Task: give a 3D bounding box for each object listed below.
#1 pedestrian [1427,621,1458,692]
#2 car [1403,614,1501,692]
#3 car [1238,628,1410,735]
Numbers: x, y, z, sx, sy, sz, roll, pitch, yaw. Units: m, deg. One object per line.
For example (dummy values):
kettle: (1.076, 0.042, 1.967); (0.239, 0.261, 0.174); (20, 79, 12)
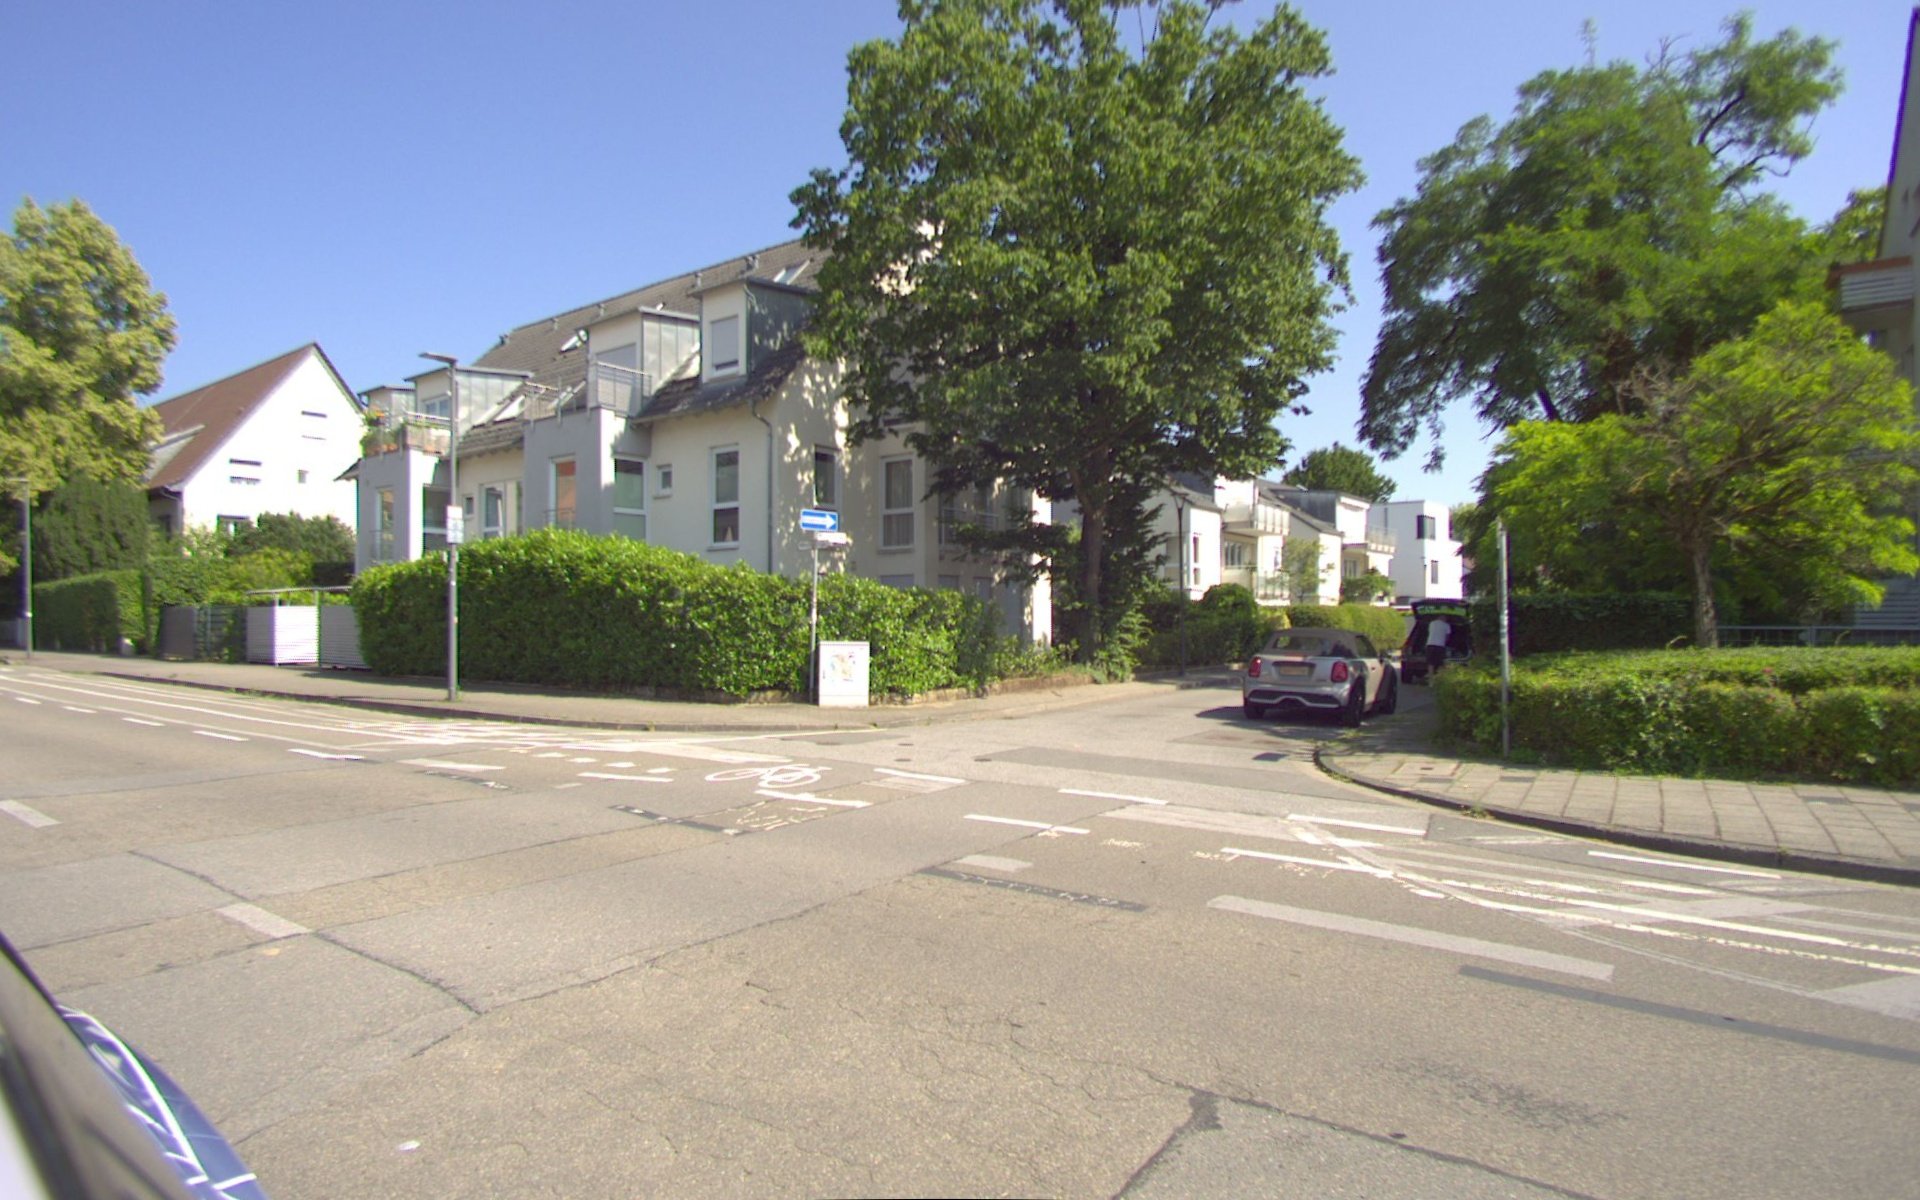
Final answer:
pedestrian: (11.162, 1.291, 23.418); (0.567, 1.619, 0.395); (-1, -1, 36)
car: (12.056, 1.230, 24.699); (1.641, 1.758, 3.462); (-1, -1, 35)
car: (5.911, 1.204, 16.235); (1.723, 1.423, 3.461); (1, 0, 35)
